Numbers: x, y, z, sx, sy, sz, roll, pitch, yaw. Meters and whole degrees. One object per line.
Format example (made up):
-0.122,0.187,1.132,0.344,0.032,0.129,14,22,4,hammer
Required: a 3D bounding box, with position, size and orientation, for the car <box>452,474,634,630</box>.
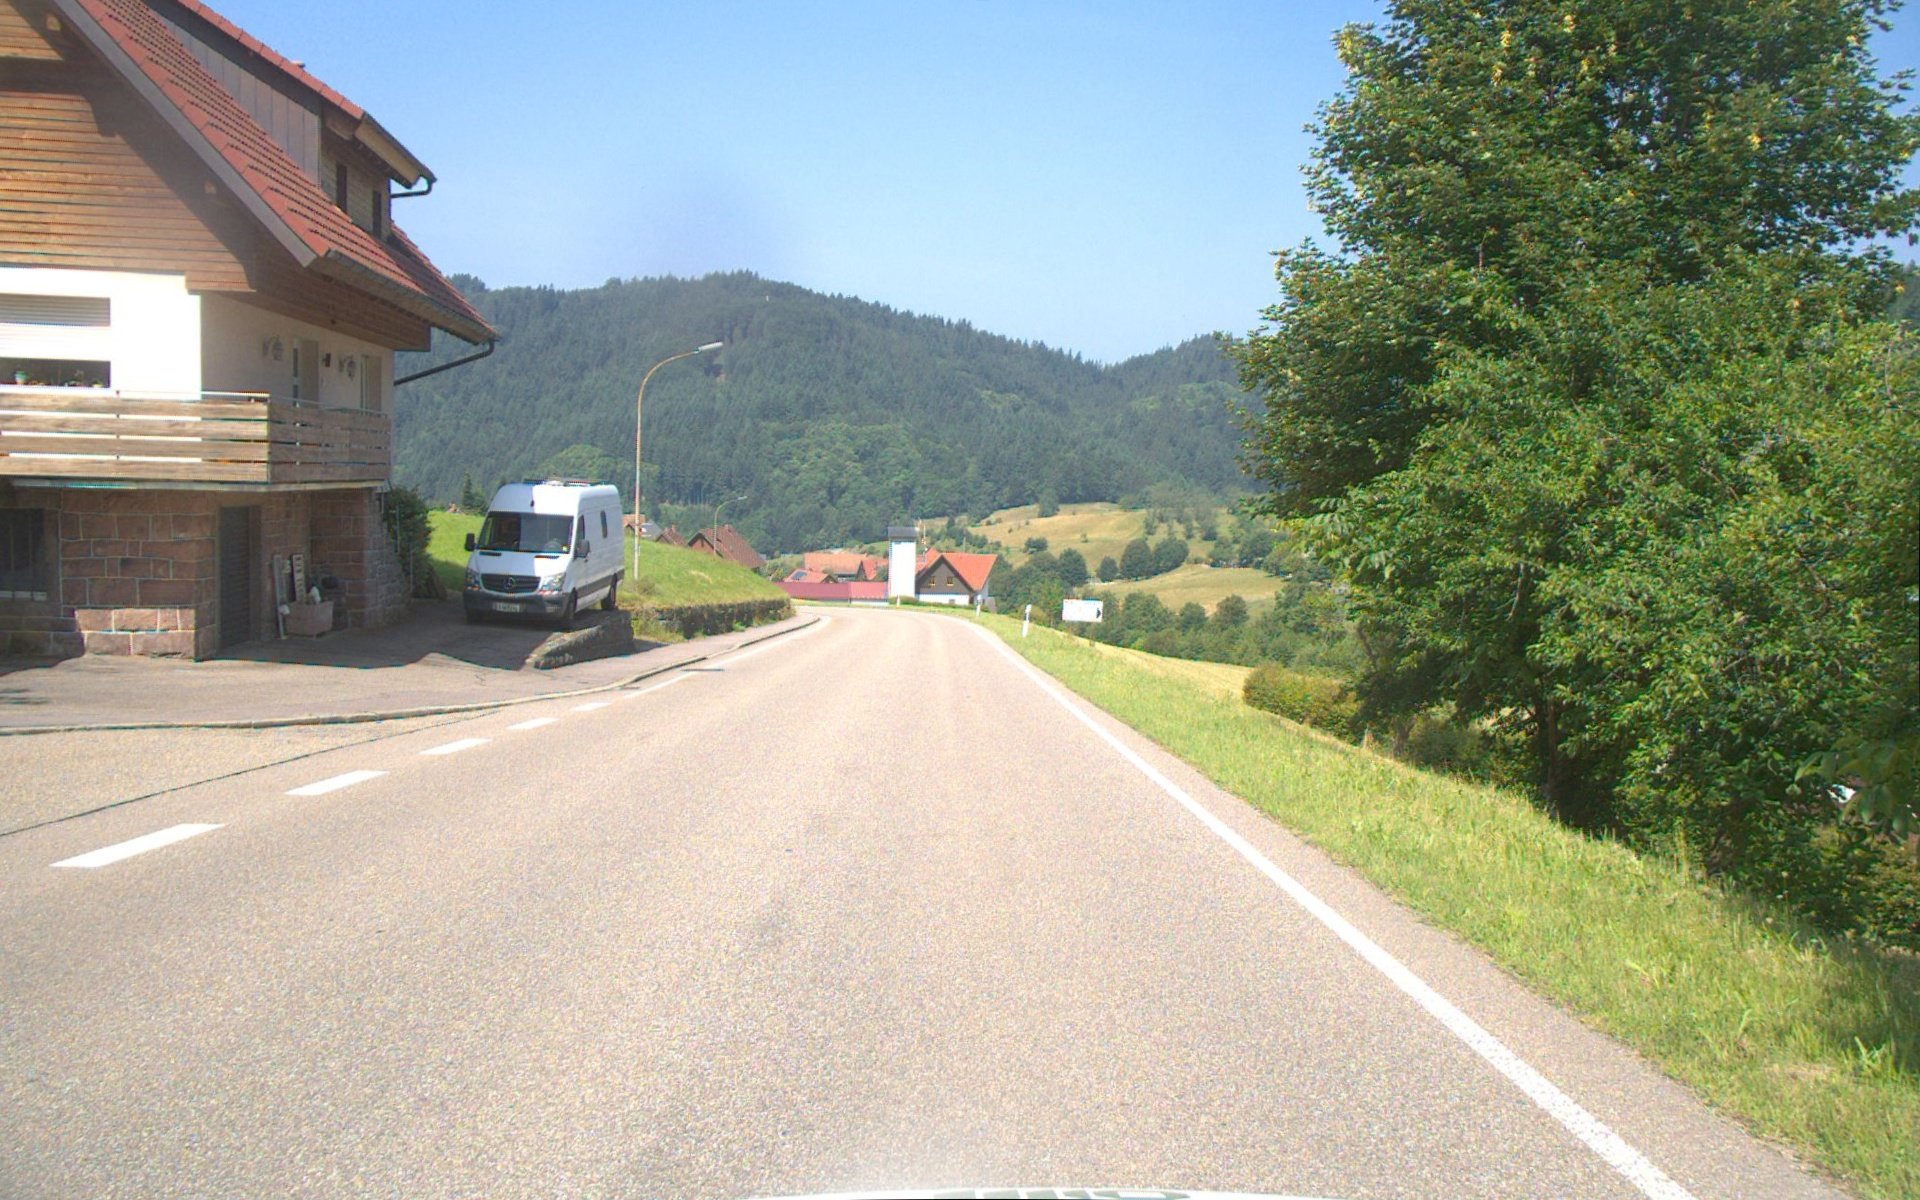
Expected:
-8.162,-1.087,33.163,2.026,2.734,7.174,1,4,-2,car
